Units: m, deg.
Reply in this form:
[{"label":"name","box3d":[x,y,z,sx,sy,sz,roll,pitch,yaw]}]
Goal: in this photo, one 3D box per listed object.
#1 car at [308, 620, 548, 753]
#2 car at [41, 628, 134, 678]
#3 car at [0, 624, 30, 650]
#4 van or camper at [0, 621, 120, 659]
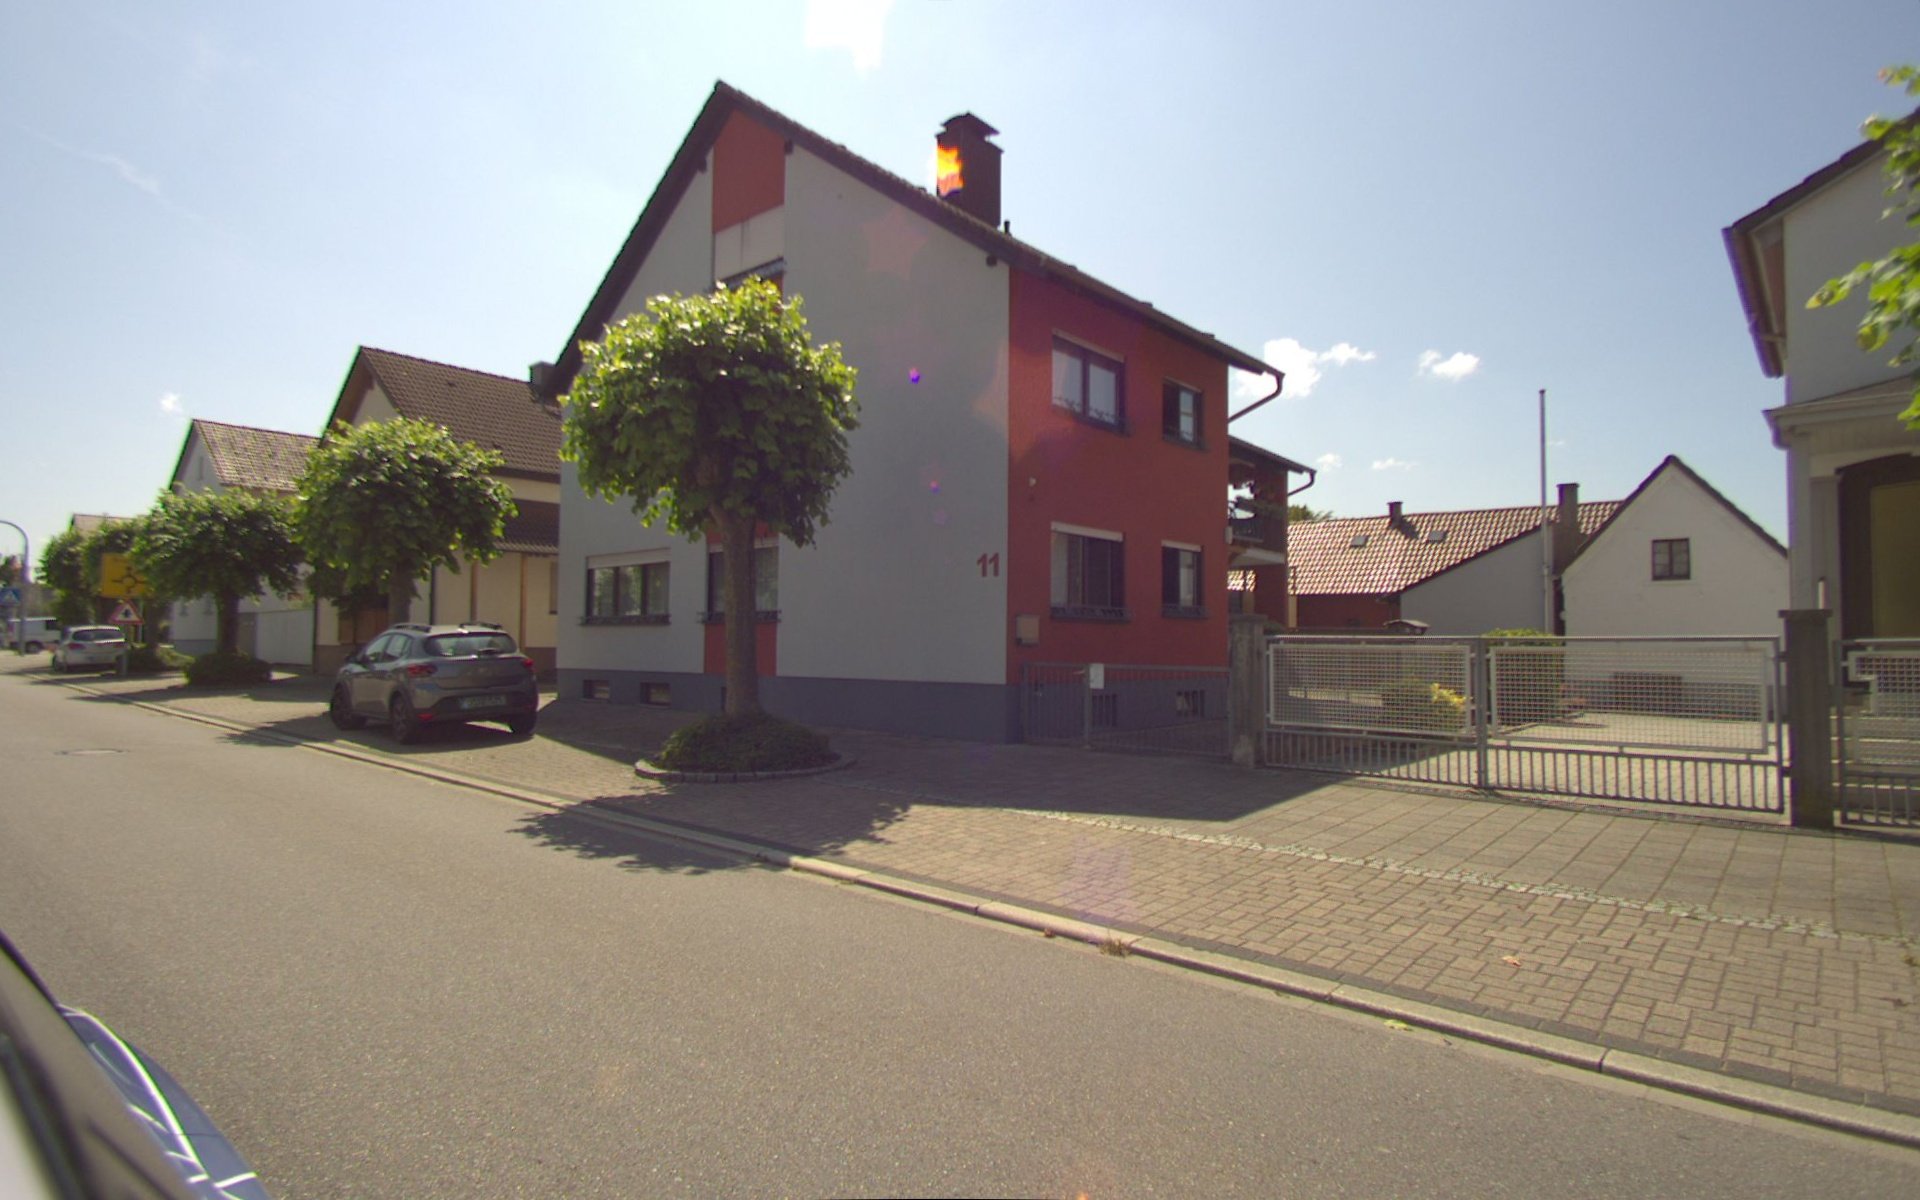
[{"label":"car","box3d":[-7.808,1.126,14.680,4.135,1.625,1.832,-1,-1,43]},{"label":"car","box3d":[-28.789,1.706,33.358,4.131,1.494,1.805,-1,-1,42]},{"label":"car","box3d":[-66.711,2.550,69.248,1.941,1.732,4.202,-1,-1,35]},{"label":"van or camper","box3d":[-47.889,2.095,53.817,1.998,1.877,4.692,-2,-2,40]}]
